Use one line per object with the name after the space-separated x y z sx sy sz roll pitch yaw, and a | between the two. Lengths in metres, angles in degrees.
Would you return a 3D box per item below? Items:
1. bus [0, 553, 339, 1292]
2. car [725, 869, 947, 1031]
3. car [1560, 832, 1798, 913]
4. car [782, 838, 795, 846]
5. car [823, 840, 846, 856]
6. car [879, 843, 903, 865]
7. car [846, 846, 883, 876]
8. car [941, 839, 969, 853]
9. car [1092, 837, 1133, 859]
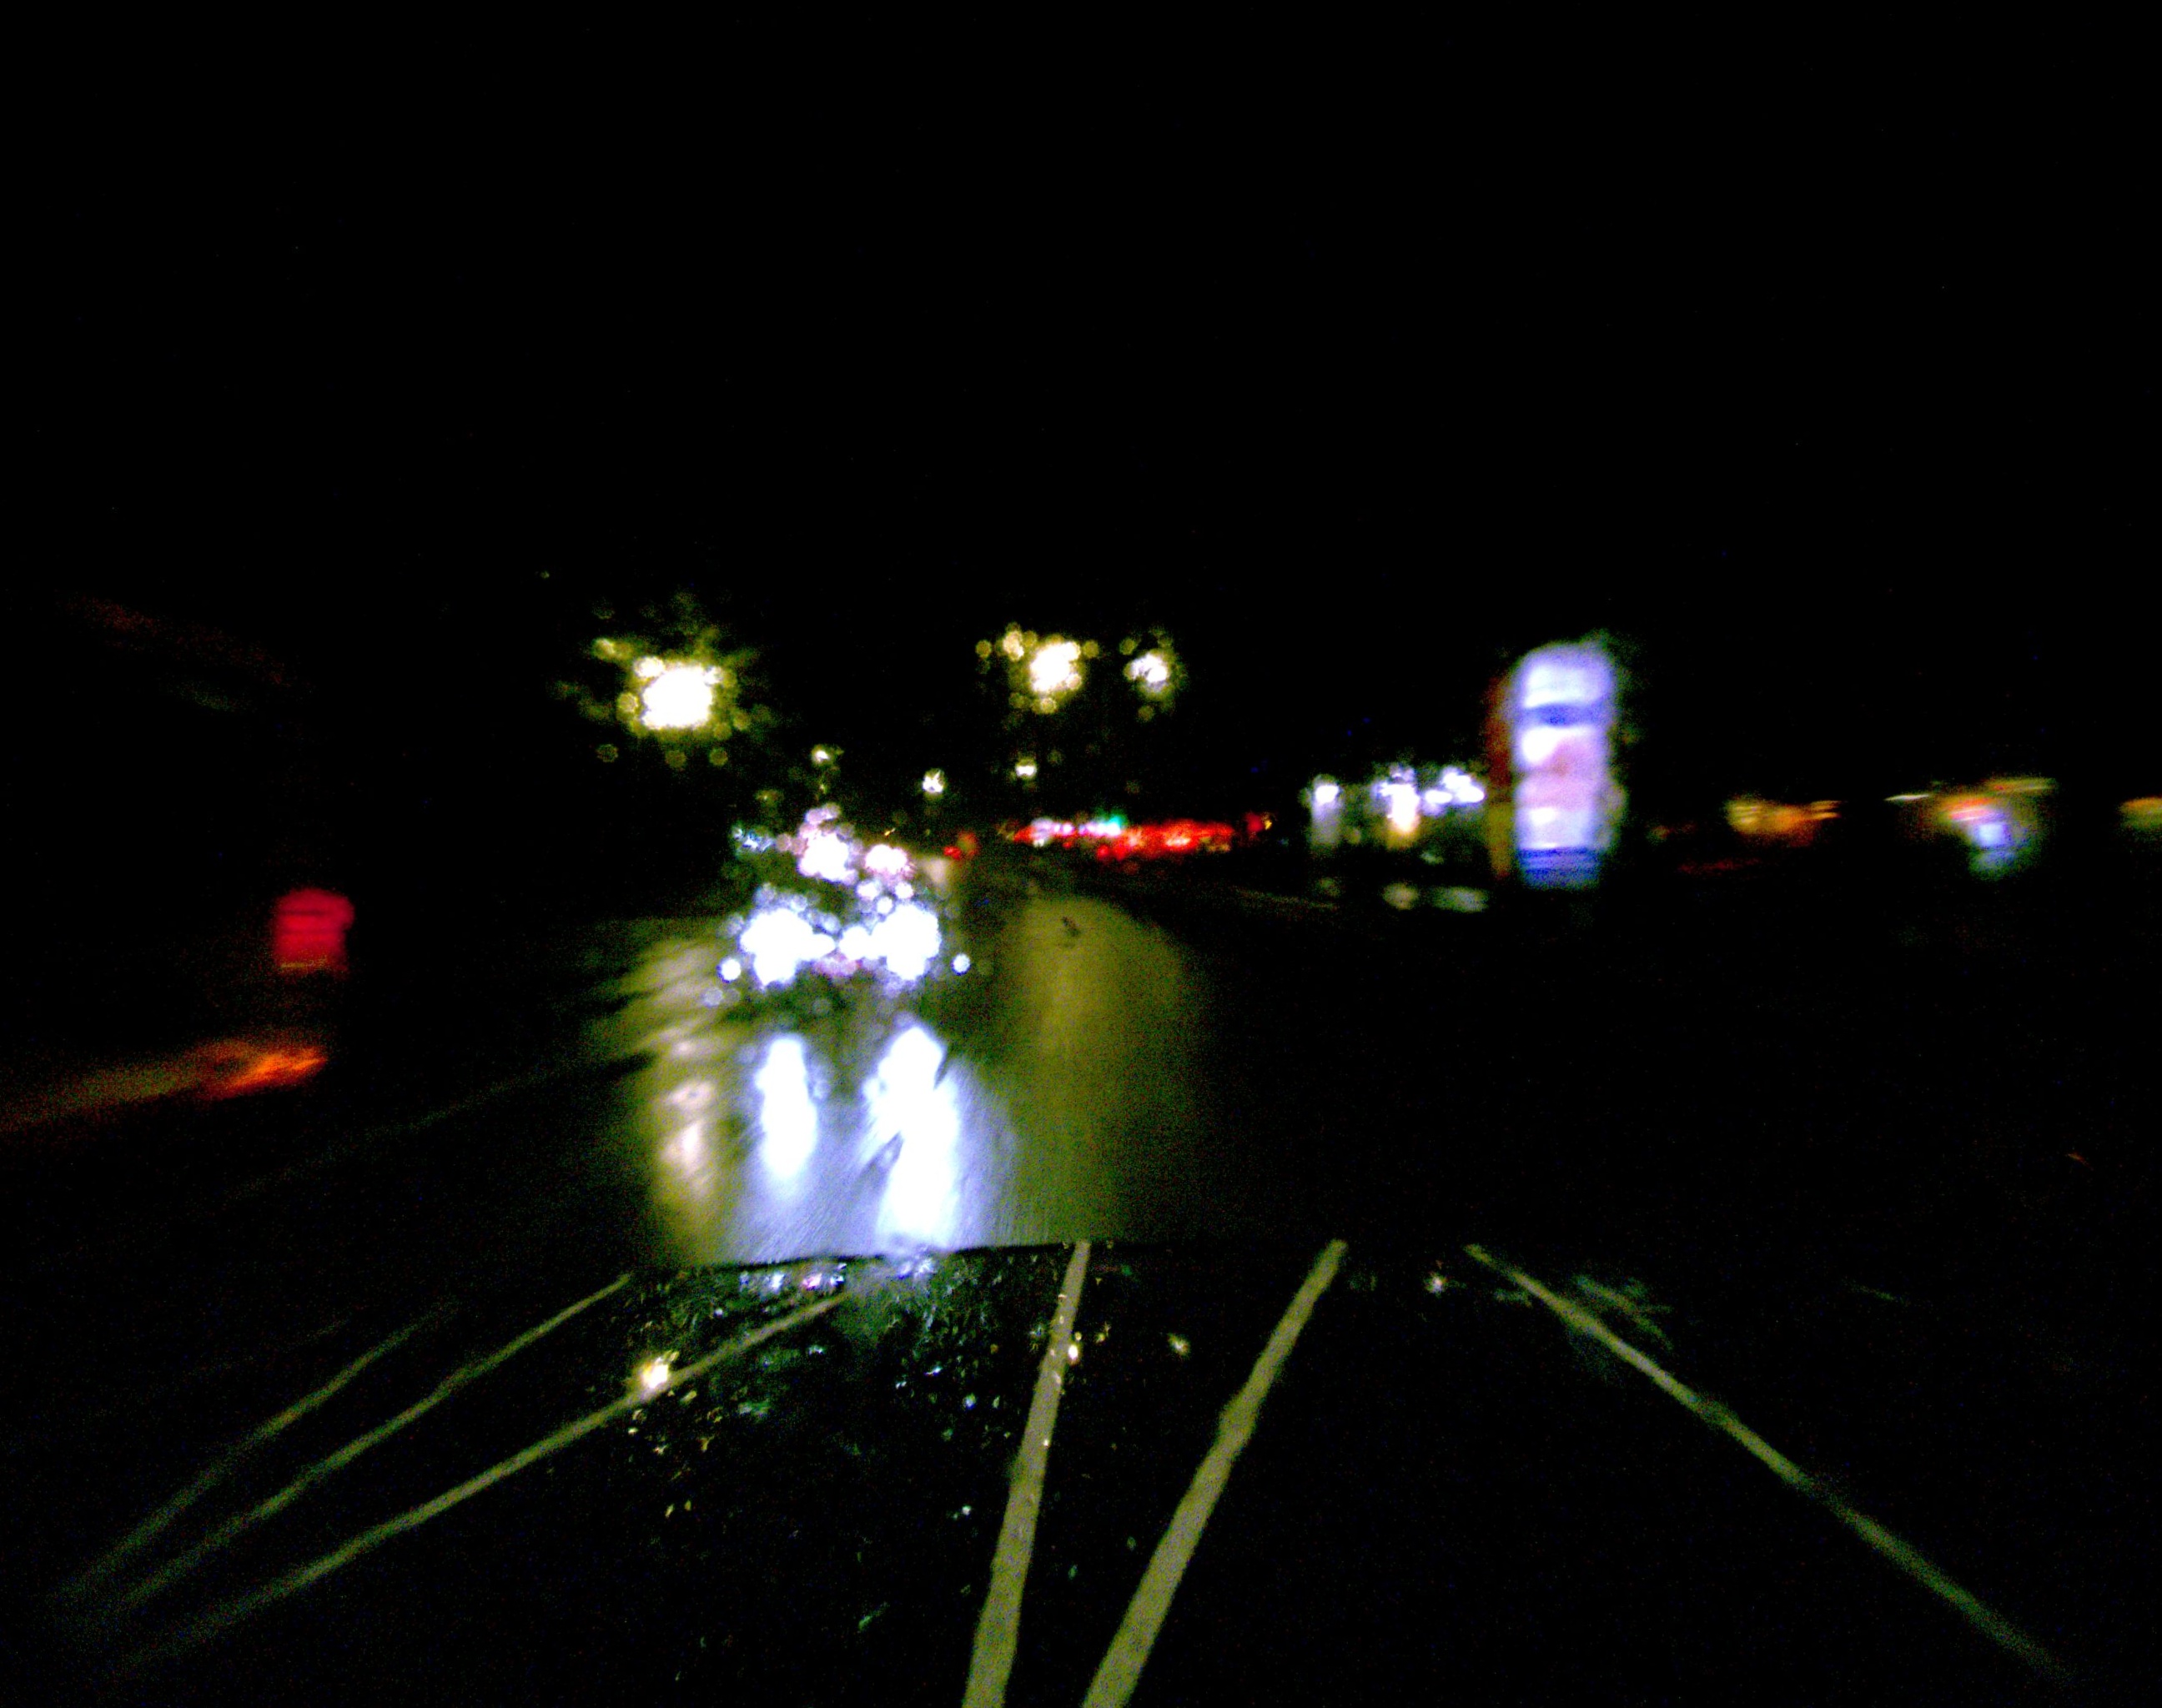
-6.212 0.347 0.165 3.051 3.194 9.049 -2 0 0 | bus
-2.920 1.048 10.014 2.000 1.515 3.997 -3 0 -7 | car
12.221 0.302 15.897 1.571 1.419 3.949 -2 2 -7 | car
-59.728 -2.483 155.176 1.773 1.449 3.942 -5 4 -31 | car
-30.320 -0.729 93.373 2.003 1.923 3.990 1 0 -28 | car
-17.548 -0.023 69.992 2.001 1.923 3.994 1 0 -16 | car
-14.185 0.437 49.725 1.940 1.862 3.993 -2 0 -21 | car
-13.995 -0.949 84.210 1.875 1.455 4.628 0 2 -25 | car
2.369 -0.501 57.950 2.001 1.585 3.994 -2 2 -16 | car
